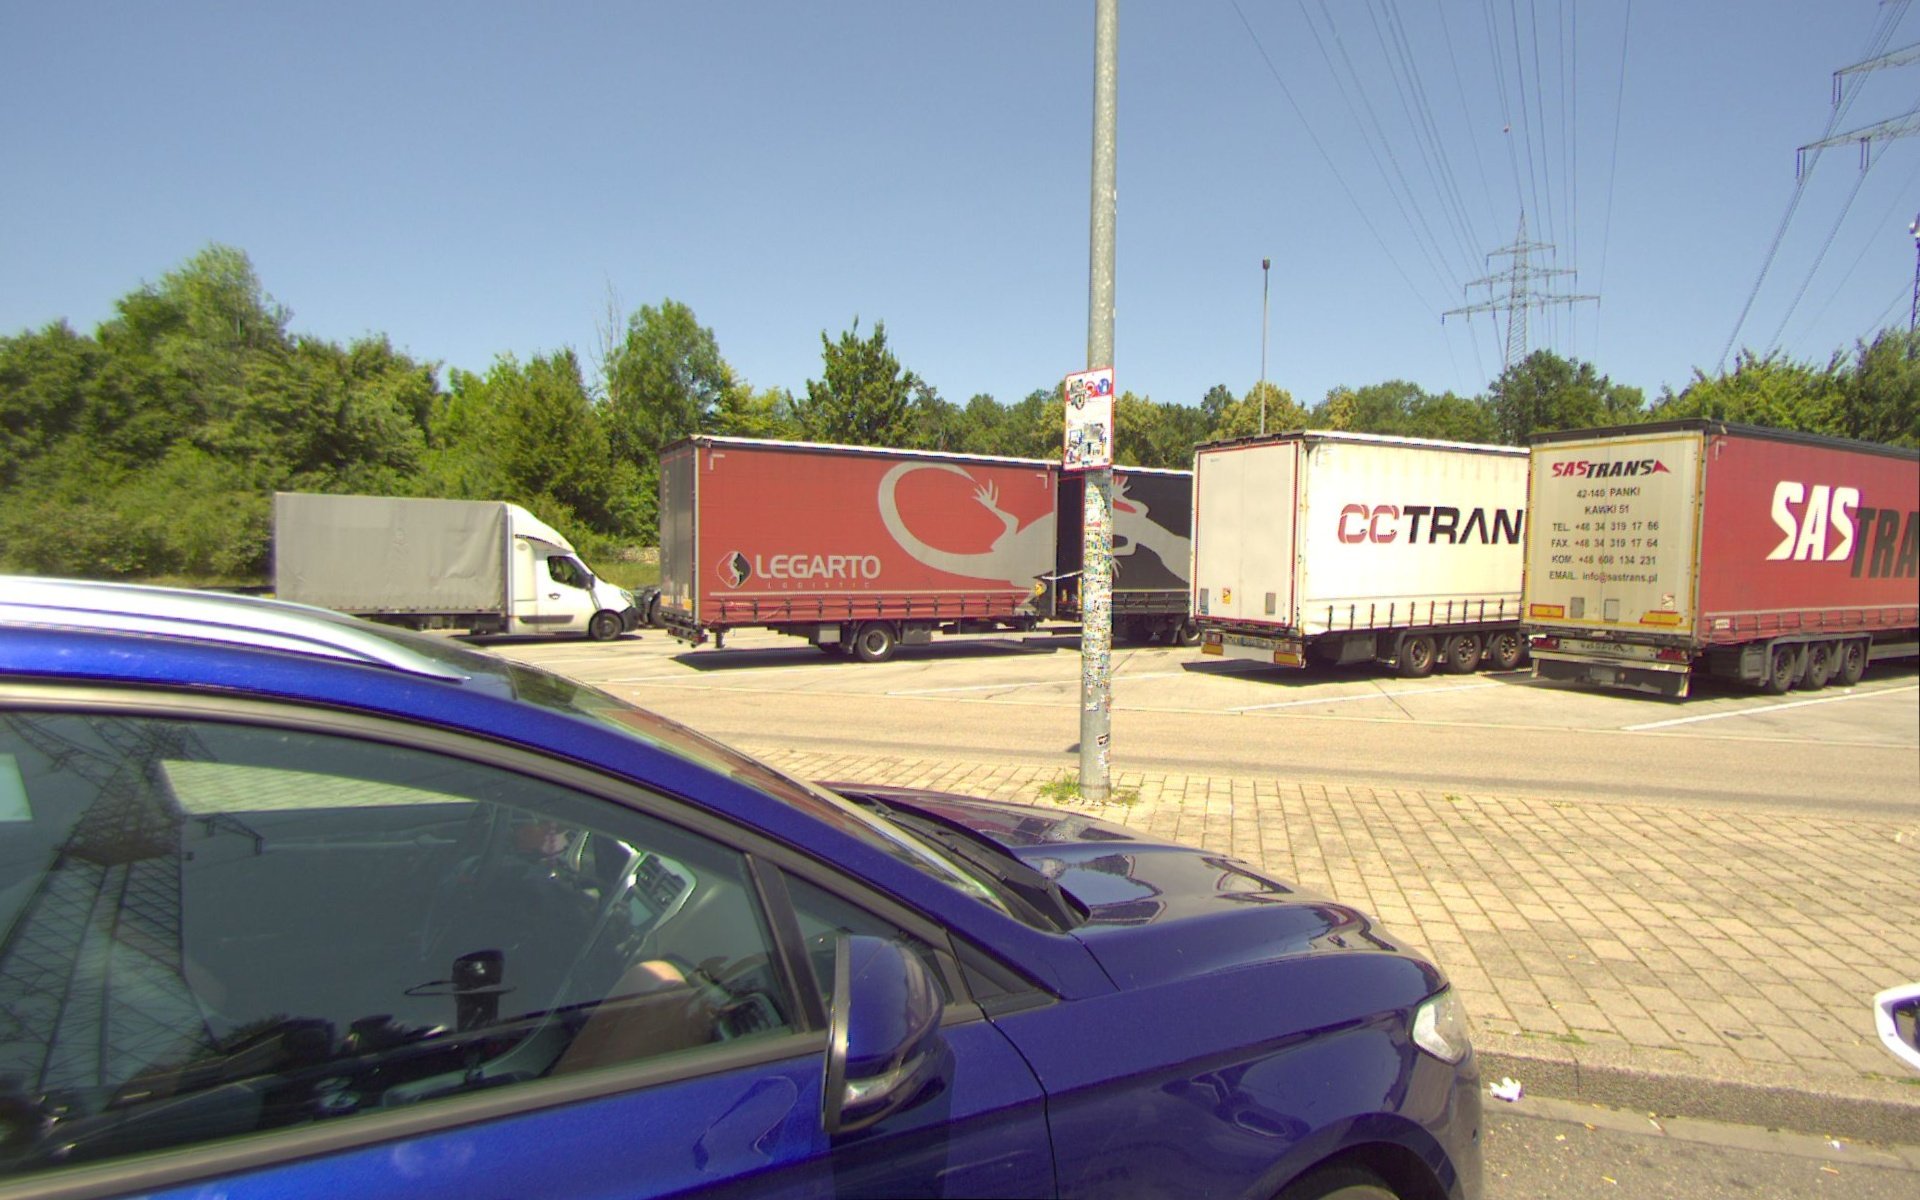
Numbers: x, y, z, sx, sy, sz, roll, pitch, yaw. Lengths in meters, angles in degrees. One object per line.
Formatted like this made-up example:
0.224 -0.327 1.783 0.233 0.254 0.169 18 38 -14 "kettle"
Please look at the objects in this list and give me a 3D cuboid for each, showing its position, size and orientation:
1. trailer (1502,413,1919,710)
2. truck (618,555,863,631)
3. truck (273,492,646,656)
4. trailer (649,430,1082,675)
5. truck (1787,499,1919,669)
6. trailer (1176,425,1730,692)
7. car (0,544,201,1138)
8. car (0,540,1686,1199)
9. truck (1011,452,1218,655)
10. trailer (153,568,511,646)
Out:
15.619 -0.692 18.742 13.962 4.141 2.777 -1 3 -30 "trailer"
-6.334 -0.220 29.293 6.733 2.041 1.987 -1 1 -26 "truck"
-11.177 -0.614 23.044 7.204 3.279 2.727 -1 3 -29 "truck"
-1.731 -0.894 20.347 8.376 4.141 2.722 -1 3 -30 "trailer"
21.222 -0.394 22.019 5.829 3.373 2.837 -1 3 -30 "truck"
10.599 -0.798 20.354 13.962 4.141 2.782 -1 3 -30 "trailer"
-4.601 0.604 2.244 4.444 1.520 1.762 0 2 -32 "car"
-1.024 0.680 1.511 4.444 1.511 1.859 0 2 -32 "car"
3.582 -1.061 23.468 3.947 4.298 2.723 -1 3 -30 "truck"
-15.151 0.068 24.913 7.204 1.711 2.249 -1 3 -29 "trailer"
